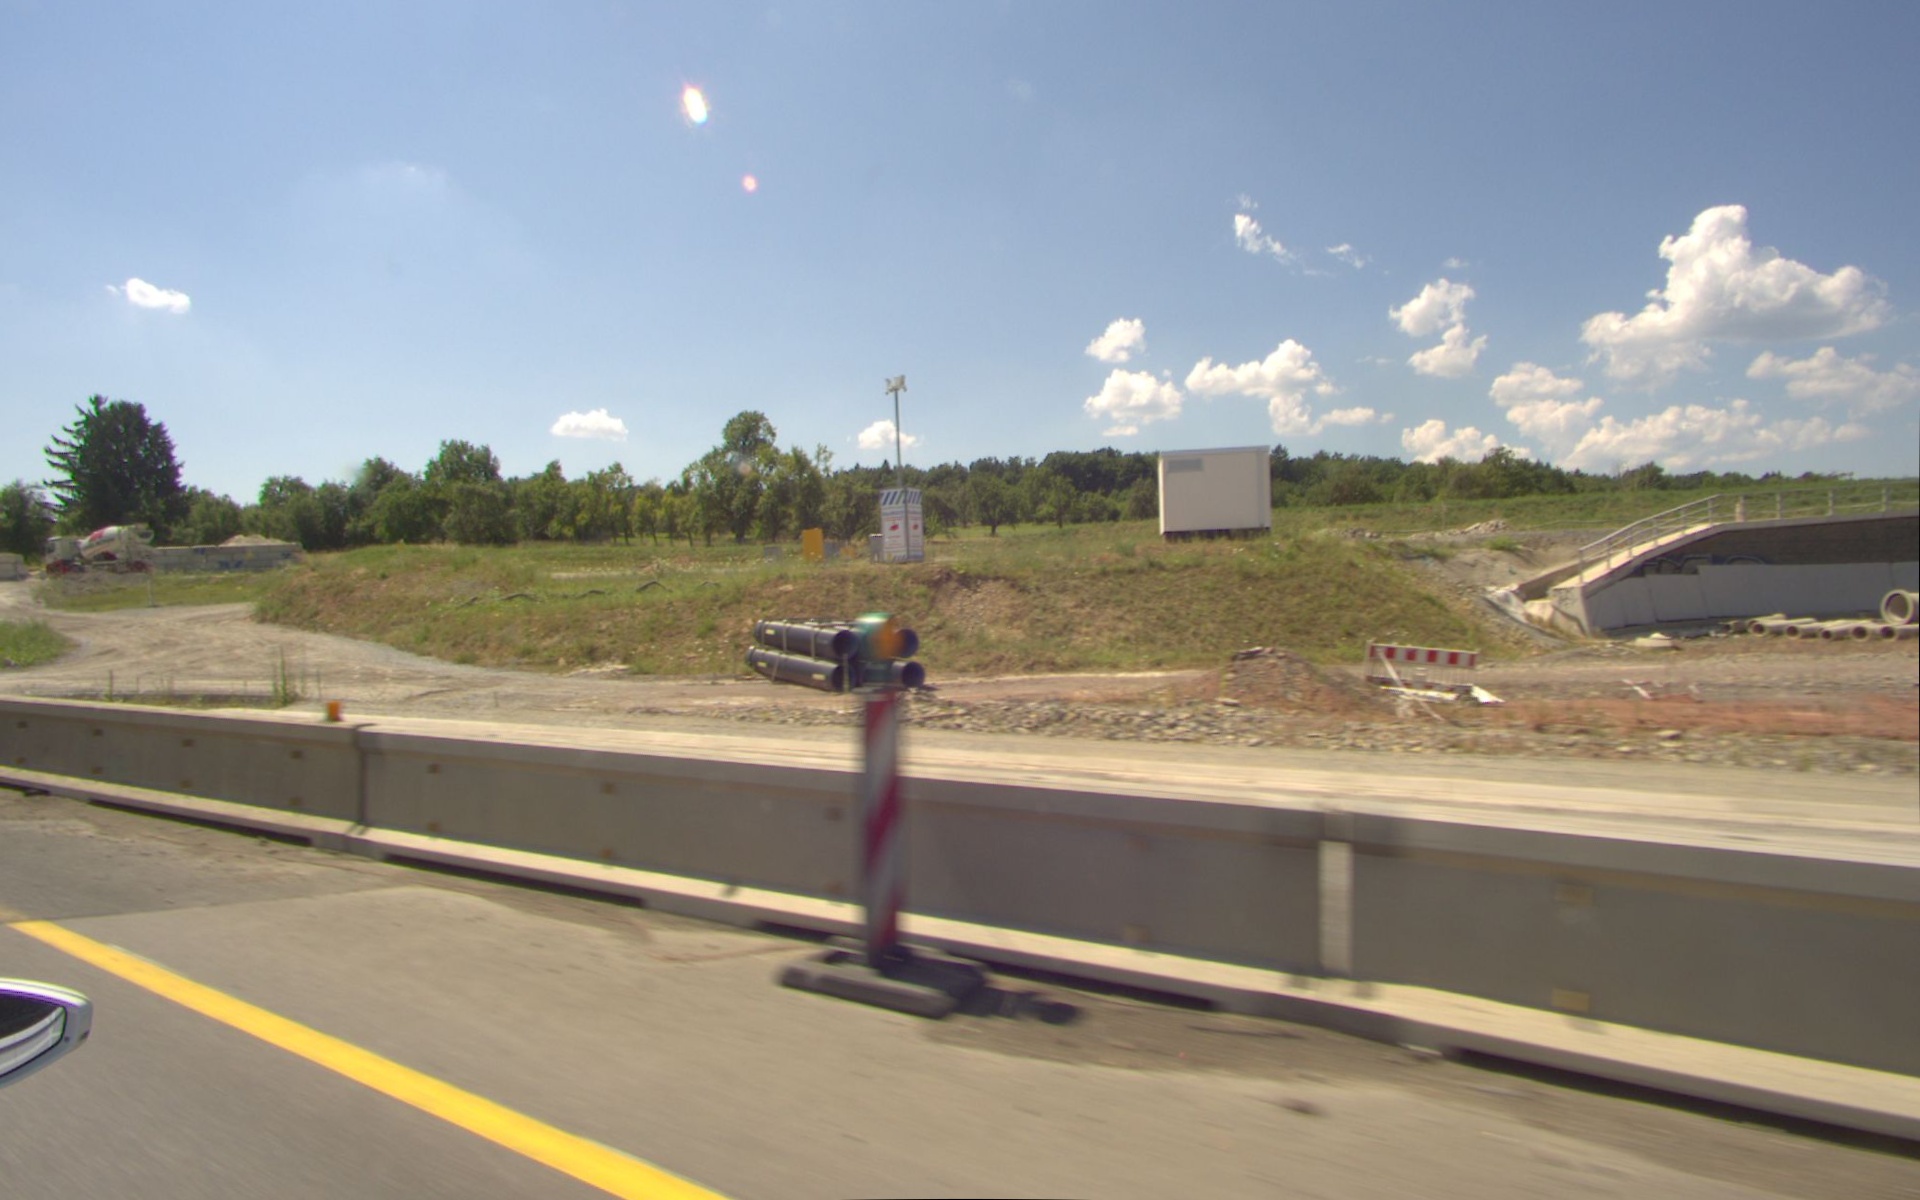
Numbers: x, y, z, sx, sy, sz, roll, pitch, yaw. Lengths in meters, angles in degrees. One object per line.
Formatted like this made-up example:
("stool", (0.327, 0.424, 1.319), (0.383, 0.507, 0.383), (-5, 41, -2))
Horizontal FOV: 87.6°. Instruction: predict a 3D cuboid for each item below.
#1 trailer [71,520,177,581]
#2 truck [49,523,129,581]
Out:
("trailer", (-61.931, -3.591, 74.167), (6.623, 4.169, 2.760), (-1, 1, 17))
("truck", (-65.363, -3.557, 75.193), (4.026, 4.150, 2.749), (-1, 1, 16))
